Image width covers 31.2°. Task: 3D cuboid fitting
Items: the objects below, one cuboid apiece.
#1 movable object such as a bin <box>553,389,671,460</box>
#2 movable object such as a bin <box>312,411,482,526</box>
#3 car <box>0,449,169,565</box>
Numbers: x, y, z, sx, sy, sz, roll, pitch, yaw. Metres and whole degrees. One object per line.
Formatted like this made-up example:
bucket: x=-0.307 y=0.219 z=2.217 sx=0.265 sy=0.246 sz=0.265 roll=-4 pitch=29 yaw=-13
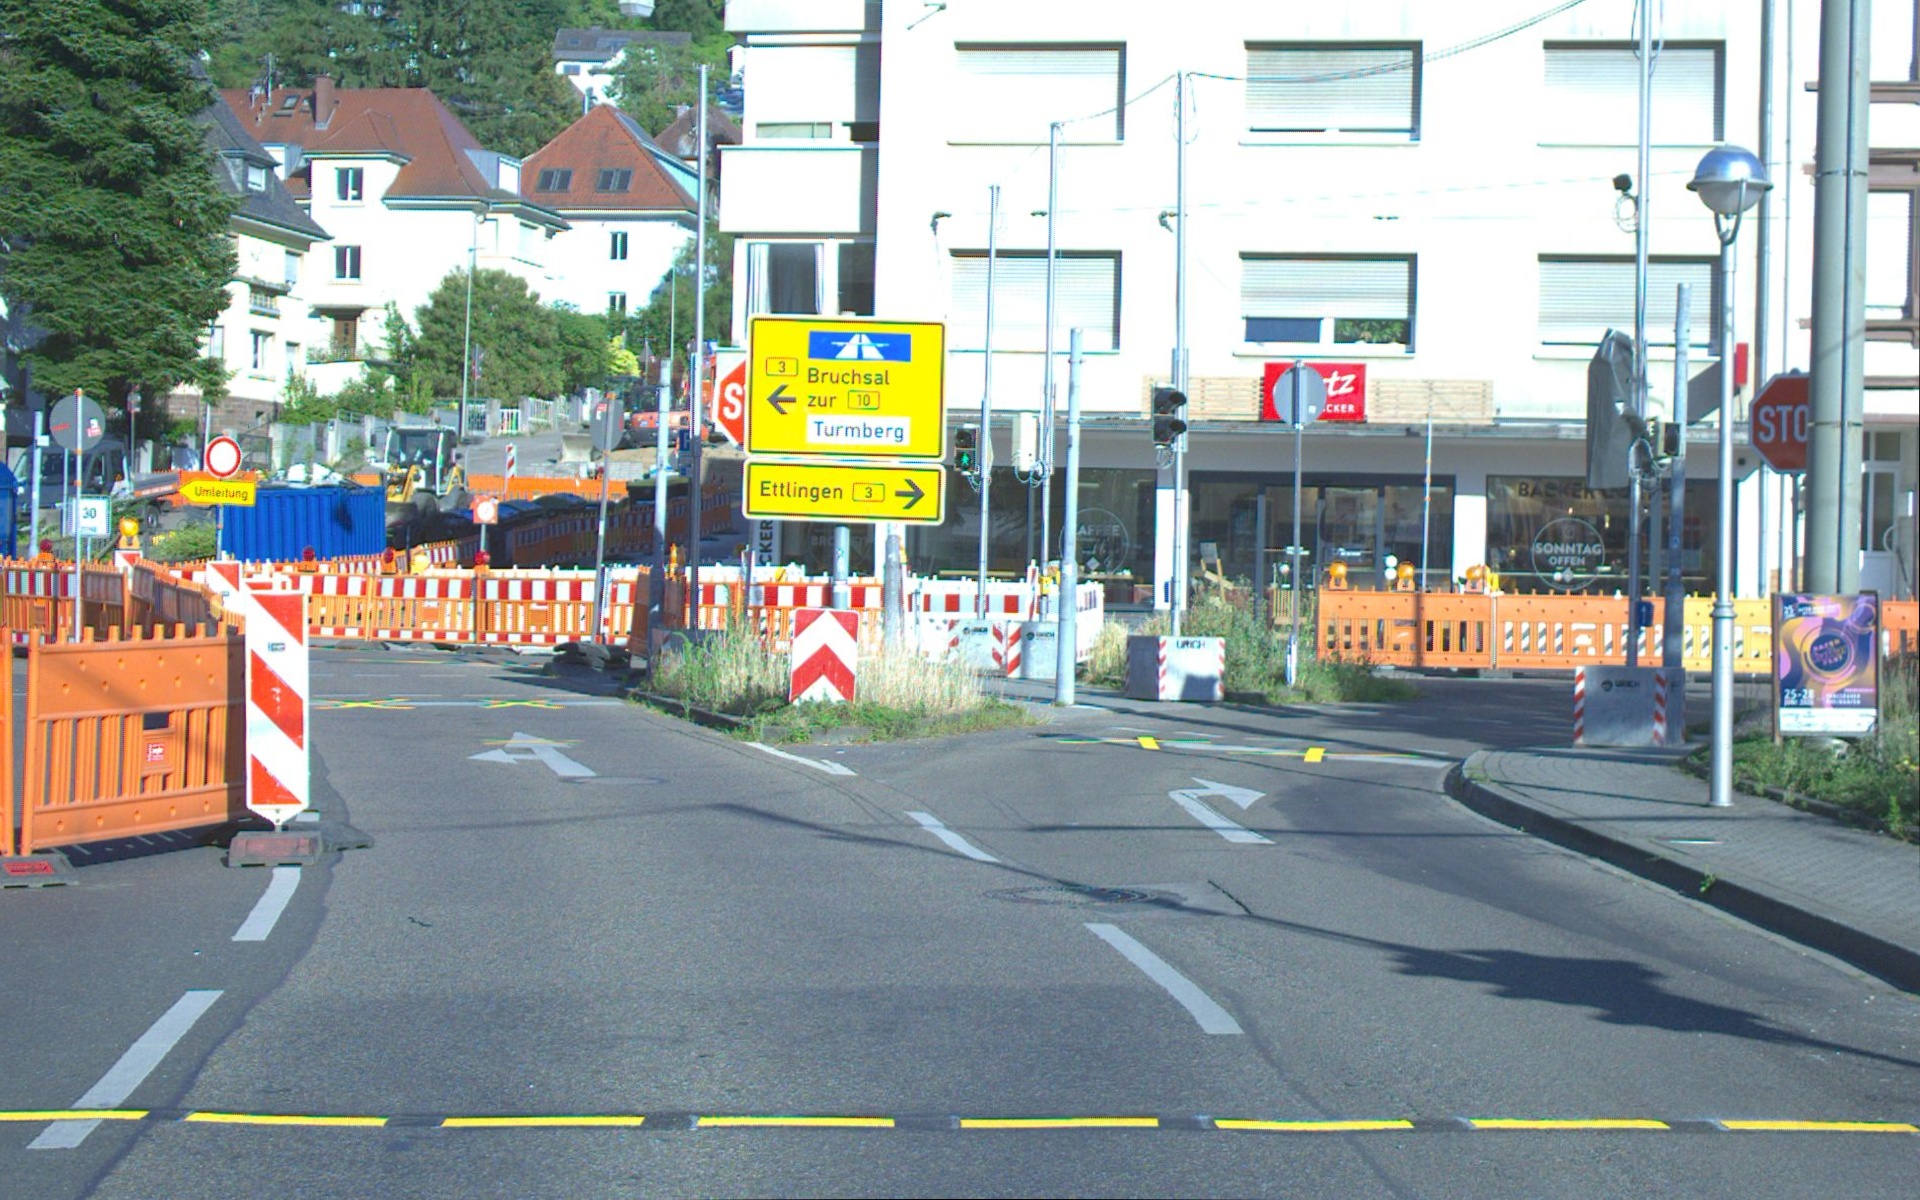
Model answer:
movable object such as a bin: x=-11.587 y=-5.840 z=114.857 sx=2.566 sy=2.114 sz=5.782 roll=1 pitch=1 yaw=8
movable object such as a bin: x=-12.887 y=-2.991 z=78.963 sx=1.950 sy=2.486 sz=4.547 roll=1 pitch=1 yaw=18
car: x=-17.974 y=-1.756 z=66.140 sx=2.585 sy=2.113 sz=6.145 roll=1 pitch=1 yaw=18
